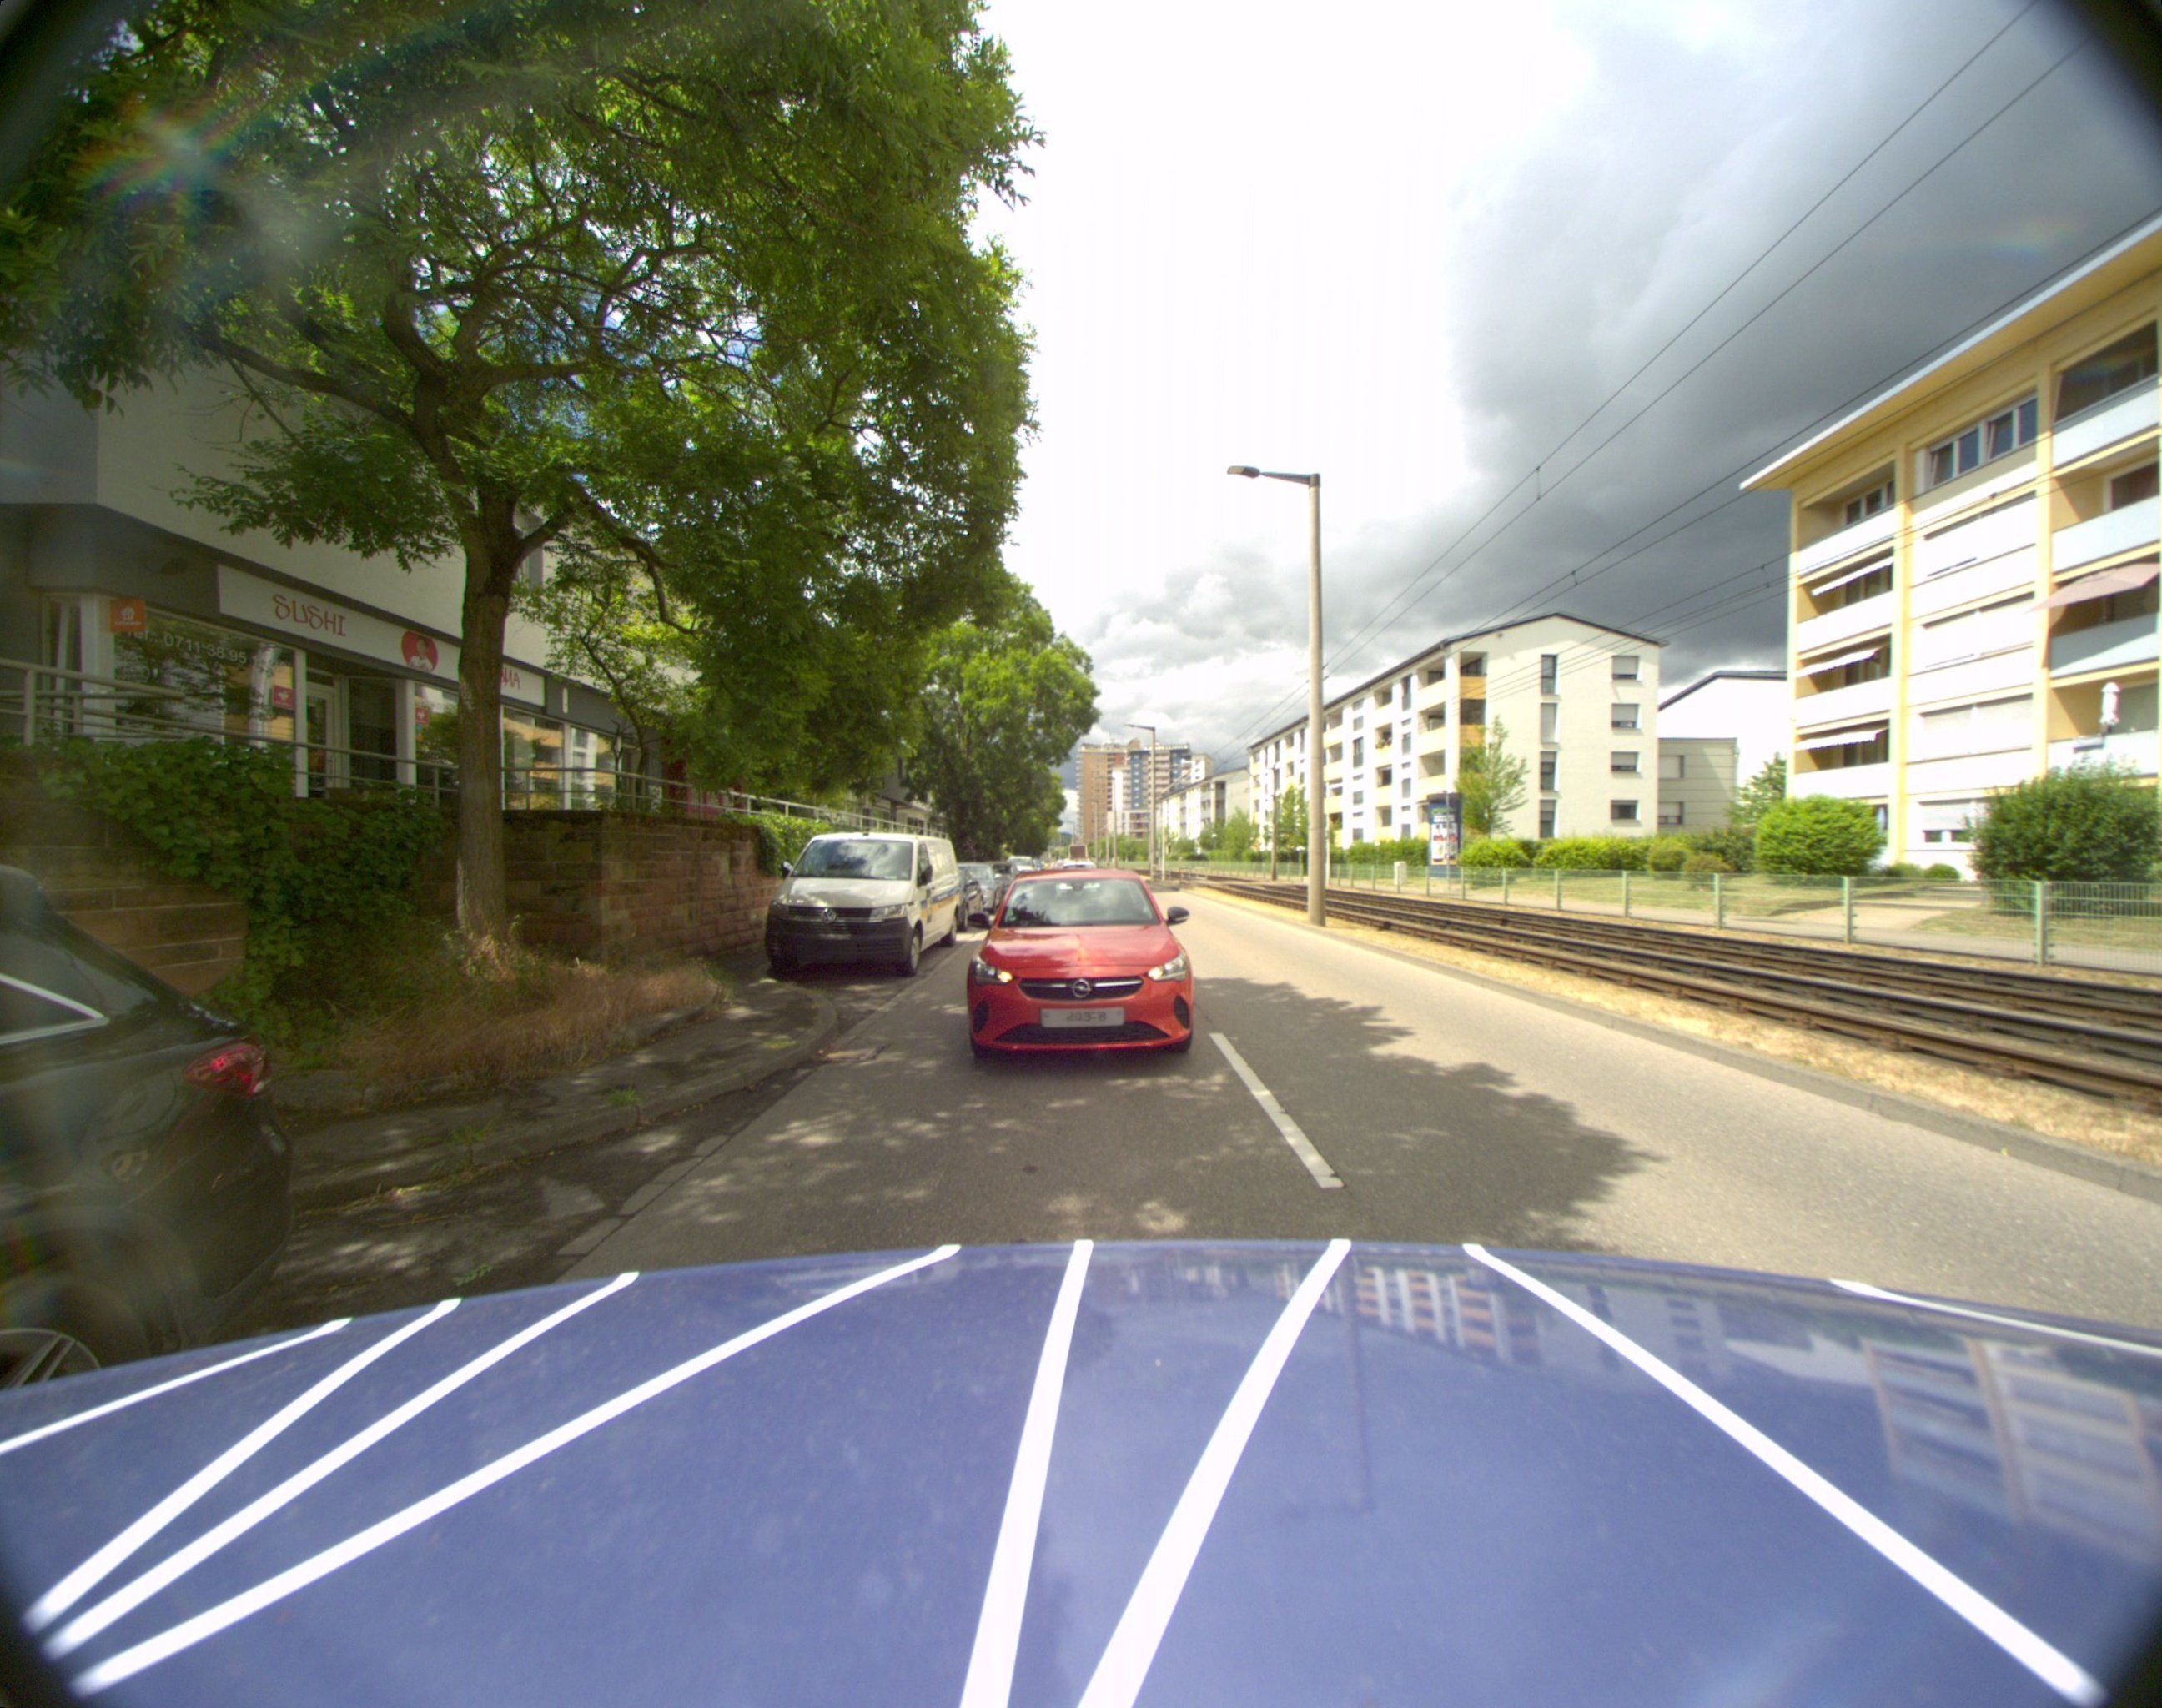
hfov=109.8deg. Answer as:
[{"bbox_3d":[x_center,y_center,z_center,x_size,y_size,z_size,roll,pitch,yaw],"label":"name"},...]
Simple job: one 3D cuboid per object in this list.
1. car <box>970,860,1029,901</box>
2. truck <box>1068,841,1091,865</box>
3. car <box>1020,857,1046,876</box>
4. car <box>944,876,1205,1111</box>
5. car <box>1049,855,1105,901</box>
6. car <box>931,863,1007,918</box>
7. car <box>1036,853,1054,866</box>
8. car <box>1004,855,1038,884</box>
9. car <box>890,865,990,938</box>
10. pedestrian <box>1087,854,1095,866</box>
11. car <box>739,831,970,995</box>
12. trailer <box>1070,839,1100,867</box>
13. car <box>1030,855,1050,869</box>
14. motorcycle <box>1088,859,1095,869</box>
[{"bbox_3d":[-3.104,0.991,29.682,1.784,1.420,4.147,0,0,0],"label":"car"},{"bbox_3d":[-0.232,-0.154,111.171,2.853,3.428,4.413,-2,0,-4],"label":"truck"},{"bbox_3d":[-3.903,0.988,61.988,1.784,1.420,4.147,-1,0,0],"label":"car"},{"bbox_3d":[-0.003,0.981,7.026,1.723,1.434,4.000,0,0,1],"label":"car"},{"bbox_3d":[-0.157,0.858,29.138,1.927,1.543,3.999,-2,0,-1],"label":"car"},{"bbox_3d":[-3.234,1.015,22.600,1.785,1.420,4.144,0,0,-2],"label":"car"},{"bbox_3d":[-4.049,0.634,86.050,1.784,1.420,4.147,0,0,0],"label":"car"},{"bbox_3d":[-3.522,0.861,44.994,1.819,1.643,4.146,0,0,-2],"label":"car"},{"bbox_3d":[-3.153,1.013,17.616,1.578,1.420,3.734,-1,0,0],"label":"car"},{"bbox_3d":[1.151,0.688,87.291,0.737,1.408,0.927,-2,1,-1],"label":"pedestrian"},{"bbox_3d":[-3.101,0.710,11.671,1.978,1.958,5.013,-1,0,0],"label":"car"},{"bbox_3d":[0.356,-0.157,102.871,2.876,3.428,14.610,-2,0,-4],"label":"trailer"},{"bbox_3d":[-4.218,0.825,78.974,1.784,1.420,4.147,-1,0,0],"label":"car"},{"bbox_3d":[1.178,1.126,86.757,0.783,1.181,1.869,-1,0,-1],"label":"motorcycle"}]
